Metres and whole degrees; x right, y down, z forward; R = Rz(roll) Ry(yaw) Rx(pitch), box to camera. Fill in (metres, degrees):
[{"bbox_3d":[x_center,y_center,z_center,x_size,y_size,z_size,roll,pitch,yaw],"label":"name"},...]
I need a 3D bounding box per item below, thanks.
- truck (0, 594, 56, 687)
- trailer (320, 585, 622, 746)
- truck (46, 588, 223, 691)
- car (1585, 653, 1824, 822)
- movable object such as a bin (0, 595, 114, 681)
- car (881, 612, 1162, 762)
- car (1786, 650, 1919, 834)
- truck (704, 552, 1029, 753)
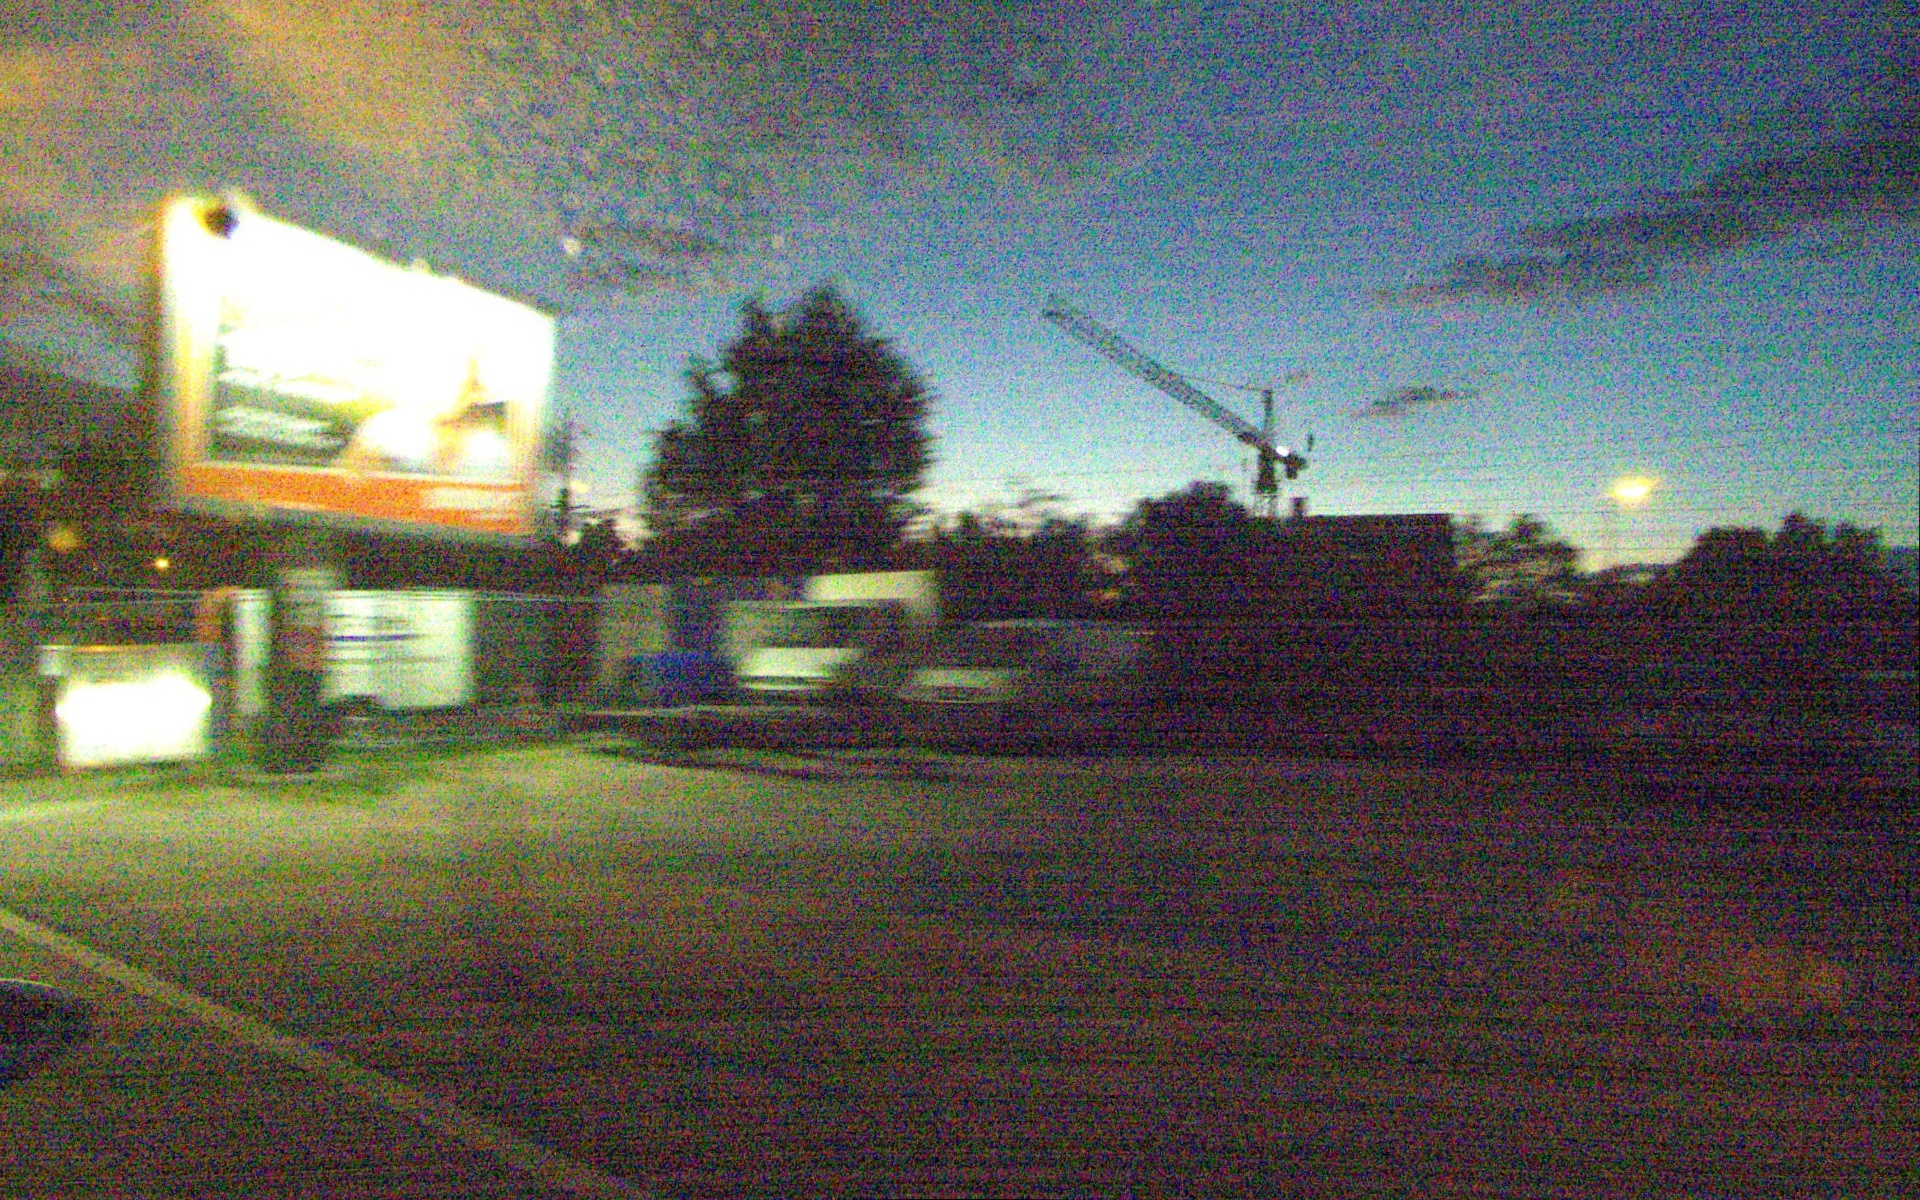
[{"bbox_3d":[-28.497,1.100,28.603,7.213,2.453,2.180,0,-3,34],"label":"truck"},{"bbox_3d":[-6.986,0.884,14.432,3.711,2.040,1.603,2,-1,-35],"label":"trailer"},{"bbox_3d":[-24.804,1.162,29.963,7.217,2.782,2.179,-1,-4,35],"label":"truck"},{"bbox_3d":[8.255,1.403,11.447,1.683,1.534,3.854,0,-3,29],"label":"car"},{"bbox_3d":[-31.068,1.285,34.080,3.807,2.758,2.226,0,-3,30],"label":"movable object such as a bin"},{"bbox_3d":[1.147,1.222,15.128,1.962,1.859,5.065,0,-3,34],"label":"car"},{"bbox_3d":[9.971,1.353,10.225,1.683,1.616,3.854,0,-3,29],"label":"car"},{"bbox_3d":[-1.211,0.843,16.151,2.435,2.632,5.527,0,-3,30],"label":"truck"}]
